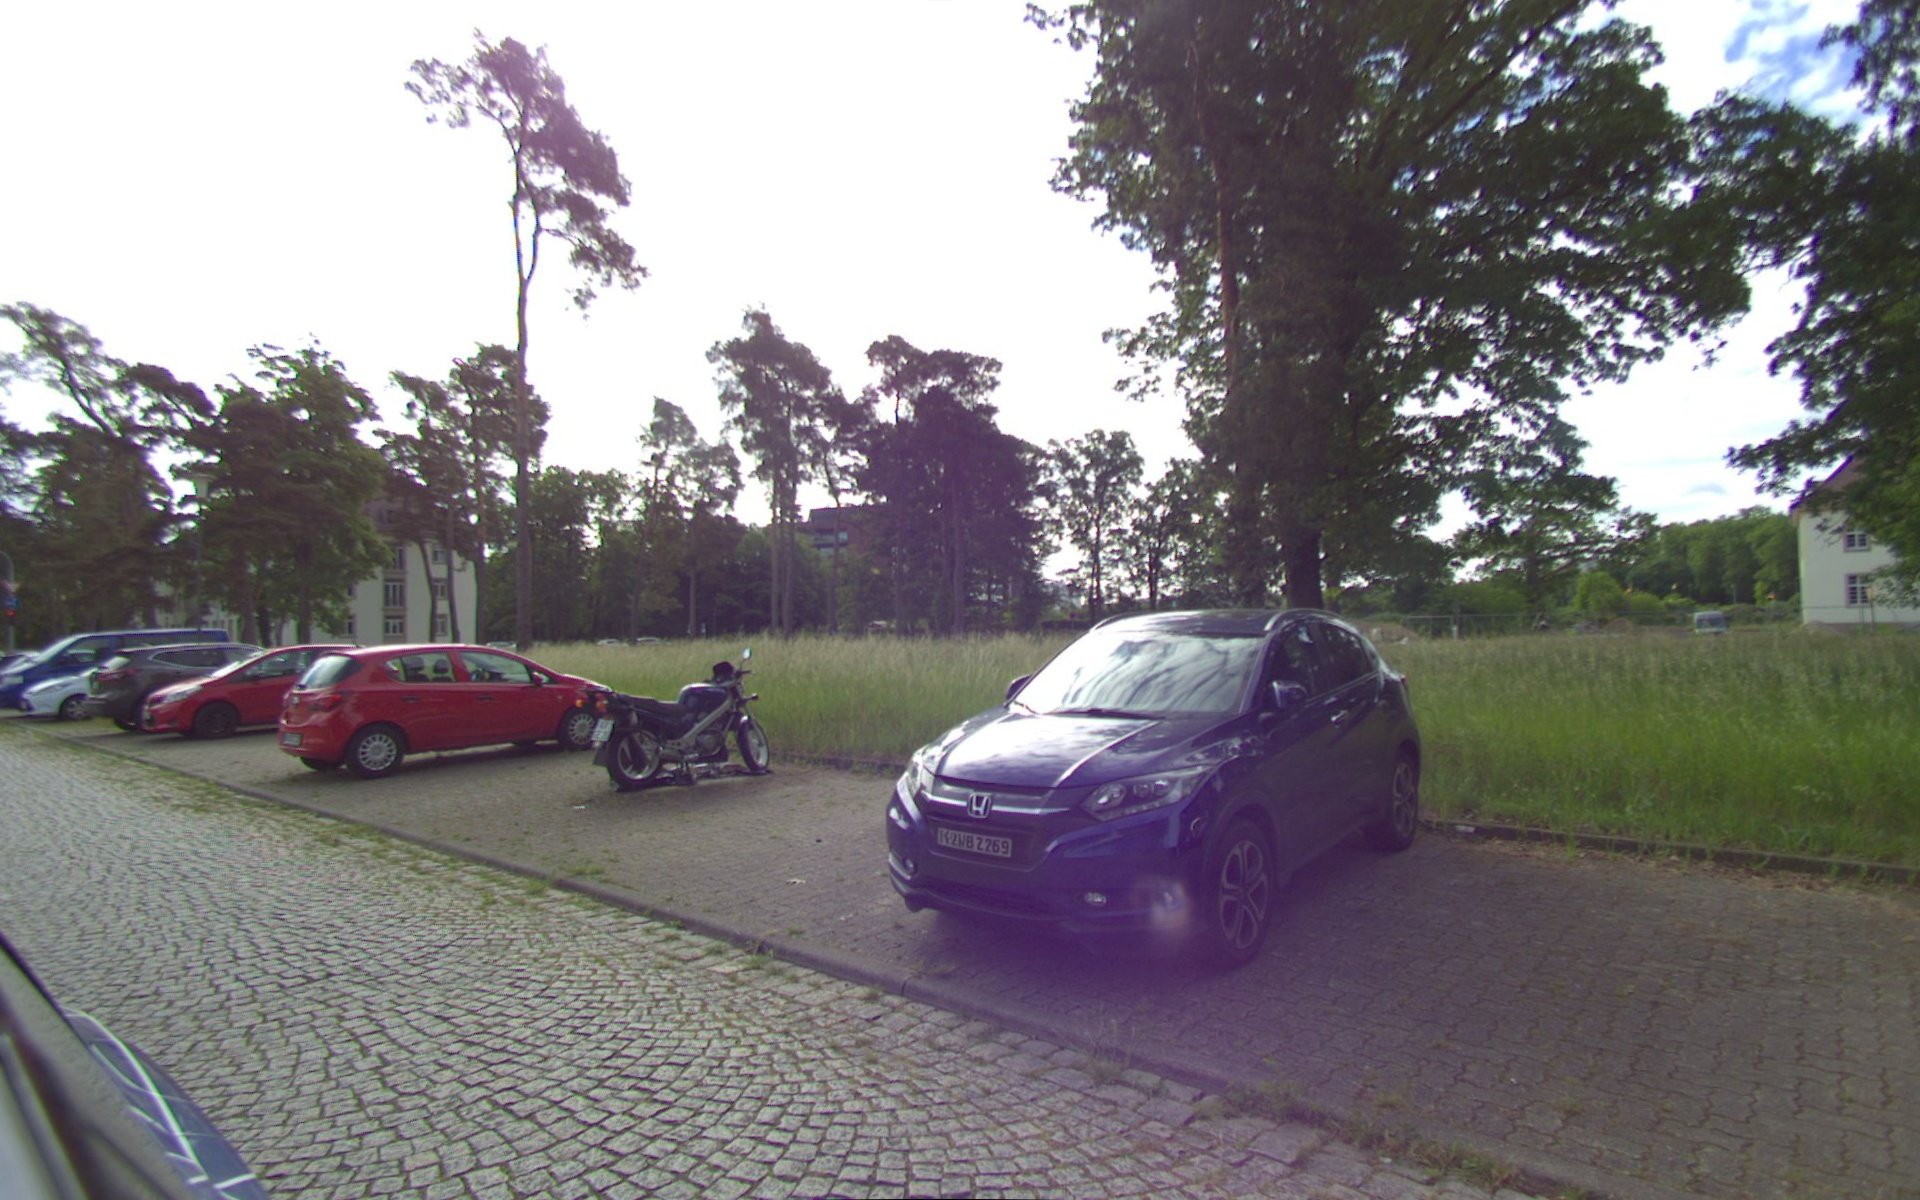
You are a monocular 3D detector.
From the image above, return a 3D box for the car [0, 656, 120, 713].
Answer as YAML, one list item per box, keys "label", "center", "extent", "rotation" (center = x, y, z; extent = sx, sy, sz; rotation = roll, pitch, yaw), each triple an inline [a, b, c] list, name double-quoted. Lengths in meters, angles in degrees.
- label: "car"
  center: [-27.514, 2.500, 30.098]
  extent: [1.613, 1.431, 3.561]
  rotation: [-2, 0, 33]

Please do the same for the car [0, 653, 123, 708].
- label: "car"
  center: [-29.400, 2.569, 32.526]
  extent: [1.602, 1.445, 3.534]
  rotation: [-2, 1, 33]

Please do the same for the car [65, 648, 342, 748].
- label: "car"
  center: [-14.231, 1.767, 19.219]
  extent: [1.818, 1.616, 3.869]
  rotation: [-3, -3, 37]

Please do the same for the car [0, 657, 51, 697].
- label: "car"
  center: [-39.022, 3.154, 40.637]
  extent: [1.622, 1.442, 3.420]
  rotation: [-2, 1, 30]

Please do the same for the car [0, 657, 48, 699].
- label: "car"
  center: [-37.304, 3.046, 38.552]
  extent: [1.624, 1.469, 3.529]
  rotation: [-2, 1, 37]

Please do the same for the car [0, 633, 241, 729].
- label: "car"
  center: [-21.050, 1.917, 25.125]
  extent: [2.159, 1.880, 4.775]
  rotation: [-2, 1, 38]

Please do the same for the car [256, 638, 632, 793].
- label: "car"
  center: [-6.277, 1.301, 12.644]
  extent: [1.670, 1.490, 3.845]
  rotation: [-3, -2, 39]

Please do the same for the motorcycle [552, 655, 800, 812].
- label: "motorcycle"
  center: [-2.738, 1.235, 10.027]
  extent: [0.743, 1.298, 2.331]
  rotation: [-3, -2, 40]

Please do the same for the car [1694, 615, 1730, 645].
- label: "car"
  center: [56.293, 2.229, 75.755]
  extent: [2.036, 2.029, 4.176]
  rotation: [-2, 1, 37]

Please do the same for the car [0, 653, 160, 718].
- label: "car"
  center: [-25.228, 2.369, 28.723]
  extent: [1.683, 1.465, 3.561]
  rotation: [-2, 1, 33]

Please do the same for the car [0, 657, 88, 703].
- label: "car"
  center: [-33.240, 2.861, 35.708]
  extent: [1.621, 1.358, 3.601]
  rotation: [-2, 1, 44]

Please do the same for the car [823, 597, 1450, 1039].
- label: "car"
  center: [1.330, 0.817, 5.820]
  extent: [1.788, 1.585, 4.097]
  rotation: [-2, -2, 39]

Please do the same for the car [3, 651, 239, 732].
- label: "car"
  center: [-19.171, 2.014, 23.268]
  extent: [1.741, 1.403, 3.882]
  rotation: [-2, 1, 38]

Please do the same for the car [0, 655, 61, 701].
- label: "car"
  center: [-35.161, 2.889, 36.672]
  extent: [1.597, 1.498, 3.535]
  rotation: [-2, 1, 32]

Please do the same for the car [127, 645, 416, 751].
- label: "car"
  center: [-11.961, 1.631, 17.765]
  extent: [1.706, 1.532, 3.901]
  rotation: [-4, -3, 40]

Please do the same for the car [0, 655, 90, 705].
- label: "car"
  center: [-31.676, 2.701, 33.891]
  extent: [1.633, 1.427, 3.534]
  rotation: [-2, 1, 33]
